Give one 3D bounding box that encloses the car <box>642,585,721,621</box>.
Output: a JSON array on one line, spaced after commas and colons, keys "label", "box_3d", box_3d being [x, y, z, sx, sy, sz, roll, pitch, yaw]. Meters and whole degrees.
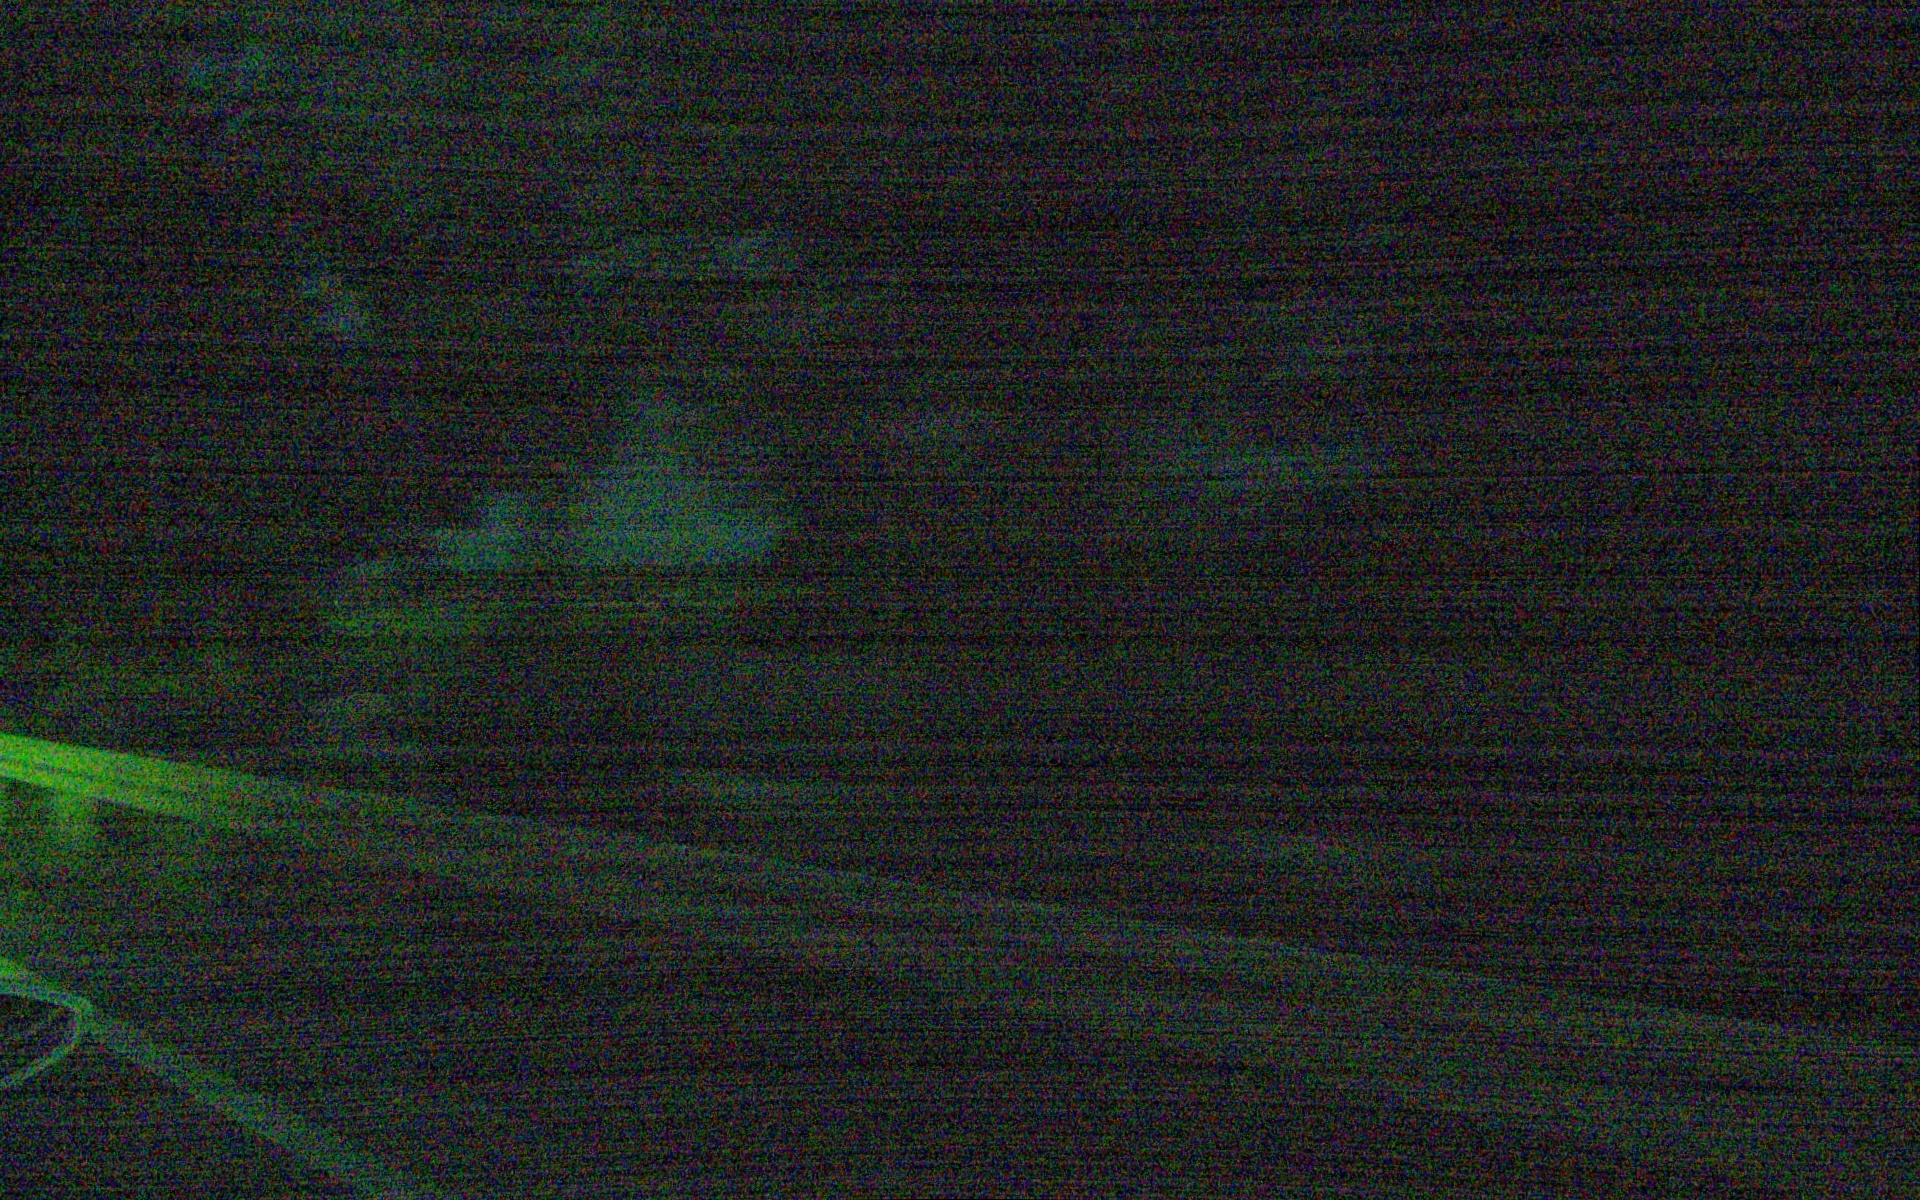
[{"label": "car", "box_3d": [-17.806, 0.174, 64.031, 4.501, 2.180, 1.995, -1, 0, 22]}]
